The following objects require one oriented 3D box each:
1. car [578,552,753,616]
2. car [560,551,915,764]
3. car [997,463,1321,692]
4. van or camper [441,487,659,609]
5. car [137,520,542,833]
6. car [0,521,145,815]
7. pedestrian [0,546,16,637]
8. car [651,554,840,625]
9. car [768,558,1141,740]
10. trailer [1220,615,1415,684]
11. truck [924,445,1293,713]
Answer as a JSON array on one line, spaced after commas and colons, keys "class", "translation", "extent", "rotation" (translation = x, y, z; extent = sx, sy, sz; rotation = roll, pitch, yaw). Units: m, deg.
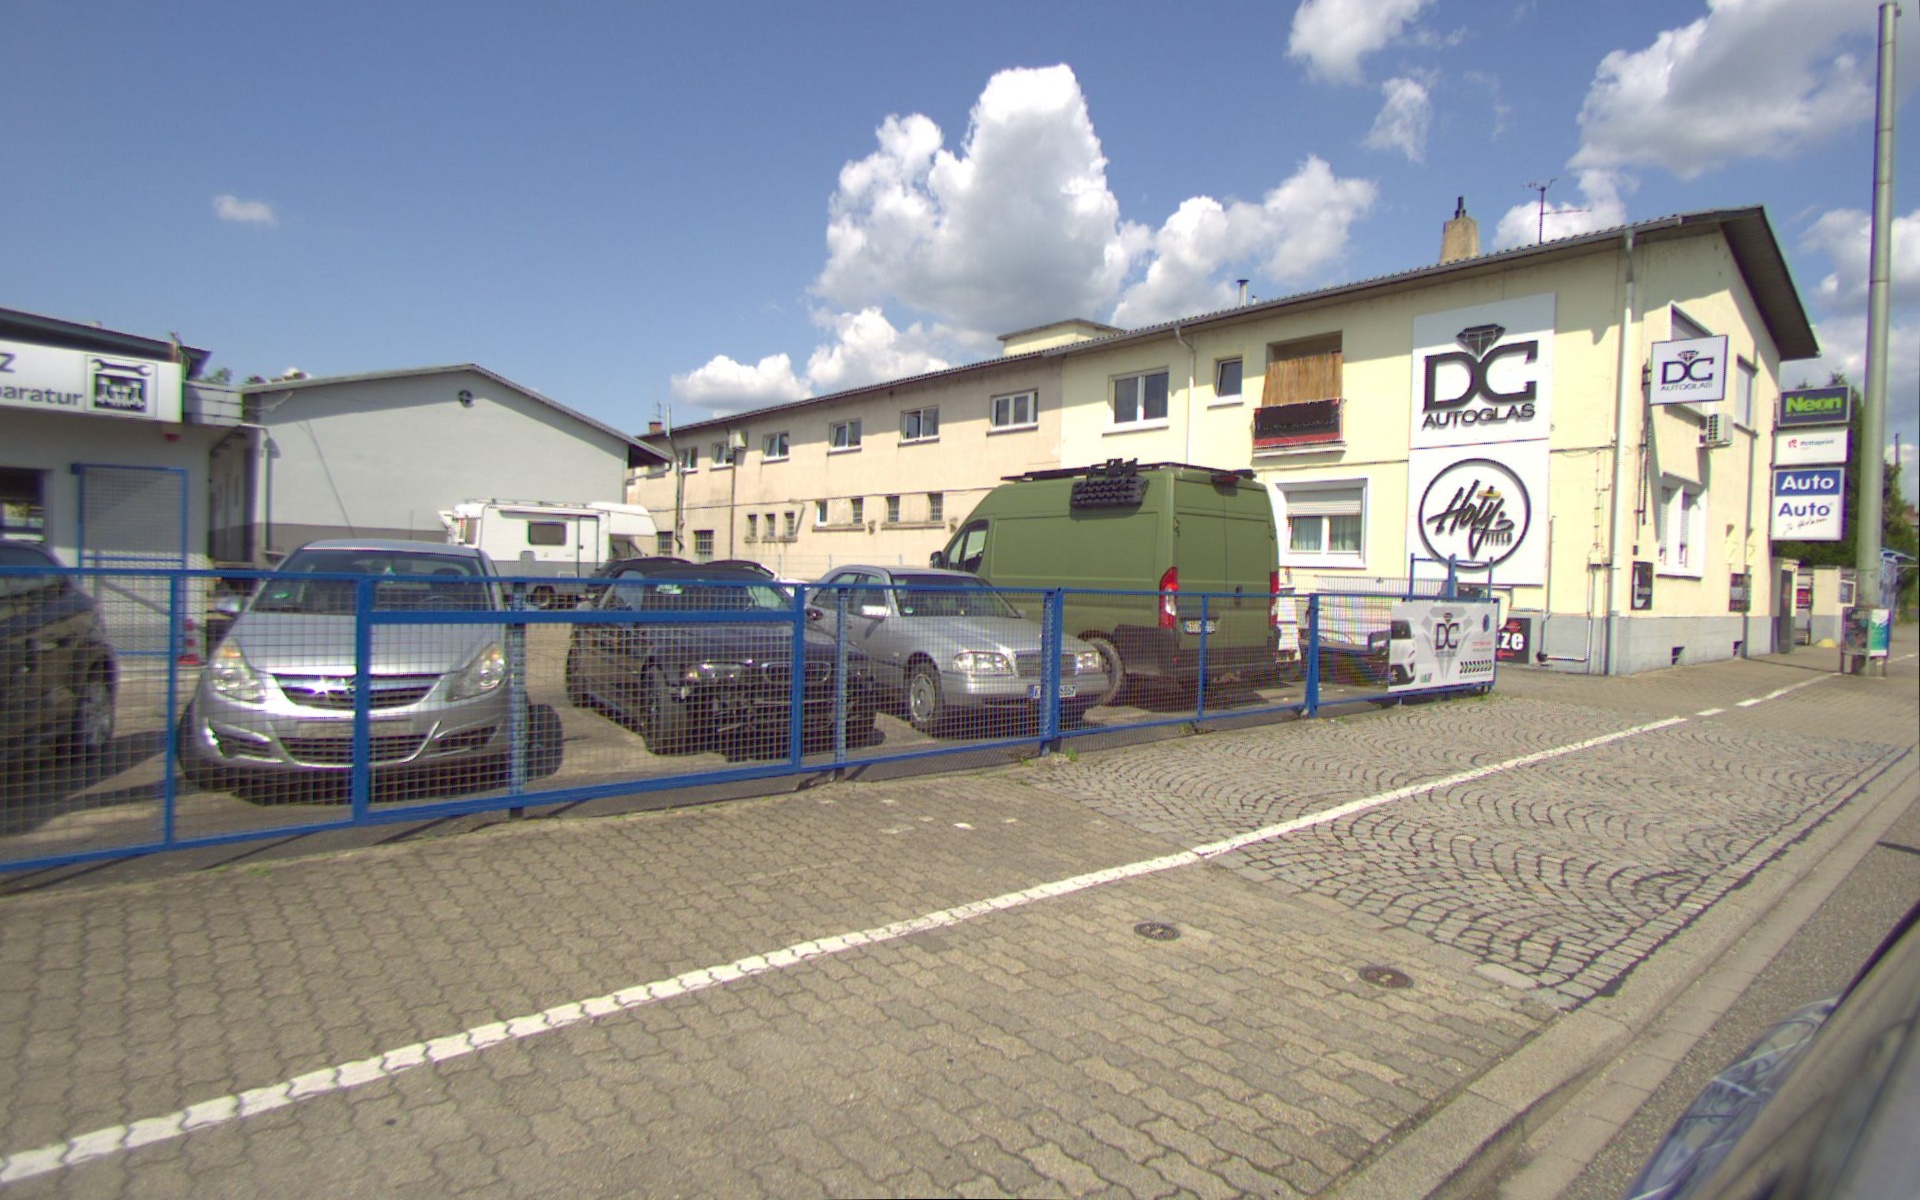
[{"class": "car", "translation": [-7.480, -0.409, 25.890], "extent": [3.939, 1.497, 1.719], "rotation": [0, 2, -41]}, {"class": "car", "translation": [-2.125, 0.311, 8.747], "extent": [1.768, 1.403, 3.837], "rotation": [1, 2, -32]}, {"class": "car", "translation": [2.611, -0.344, 14.144], "extent": [1.771, 2.702, 4.208], "rotation": [1, 2, -40]}, {"class": "van or camper", "translation": [-11.008, -1.322, 27.369], "extent": [4.971, 2.999, 2.284], "rotation": [0, 2, -42]}, {"class": "car", "translation": [-3.951, 0.303, 7.103], "extent": [1.766, 1.497, 4.158], "rotation": [1, 2, -24]}, {"class": "car", "translation": [-5.748, 0.325, 5.035], "extent": [1.685, 1.497, 4.012], "rotation": [1, 2, -25]}, {"class": "pedestrian", "translation": [-13.259, -0.127, 13.842], "extent": [0.479, 1.228, 0.501], "rotation": [1, 1, -42]}, {"class": "car", "translation": [-4.927, -0.245, 23.520], "extent": [3.939, 1.497, 1.719], "rotation": [0, 2, -41]}, {"class": "car", "translation": [-0.297, 0.321, 10.206], "extent": [1.768, 1.413, 4.216], "rotation": [1, 2, -33]}, {"class": "trailer", "translation": [5.081, 0.671, 14.530], "extent": [1.245, 0.776, 2.330], "rotation": [0, 2, -39]}, {"class": "truck", "translation": [1.623, -0.284, 12.146], "extent": [2.033, 2.639, 3.996], "rotation": [1, 2, -40]}]
